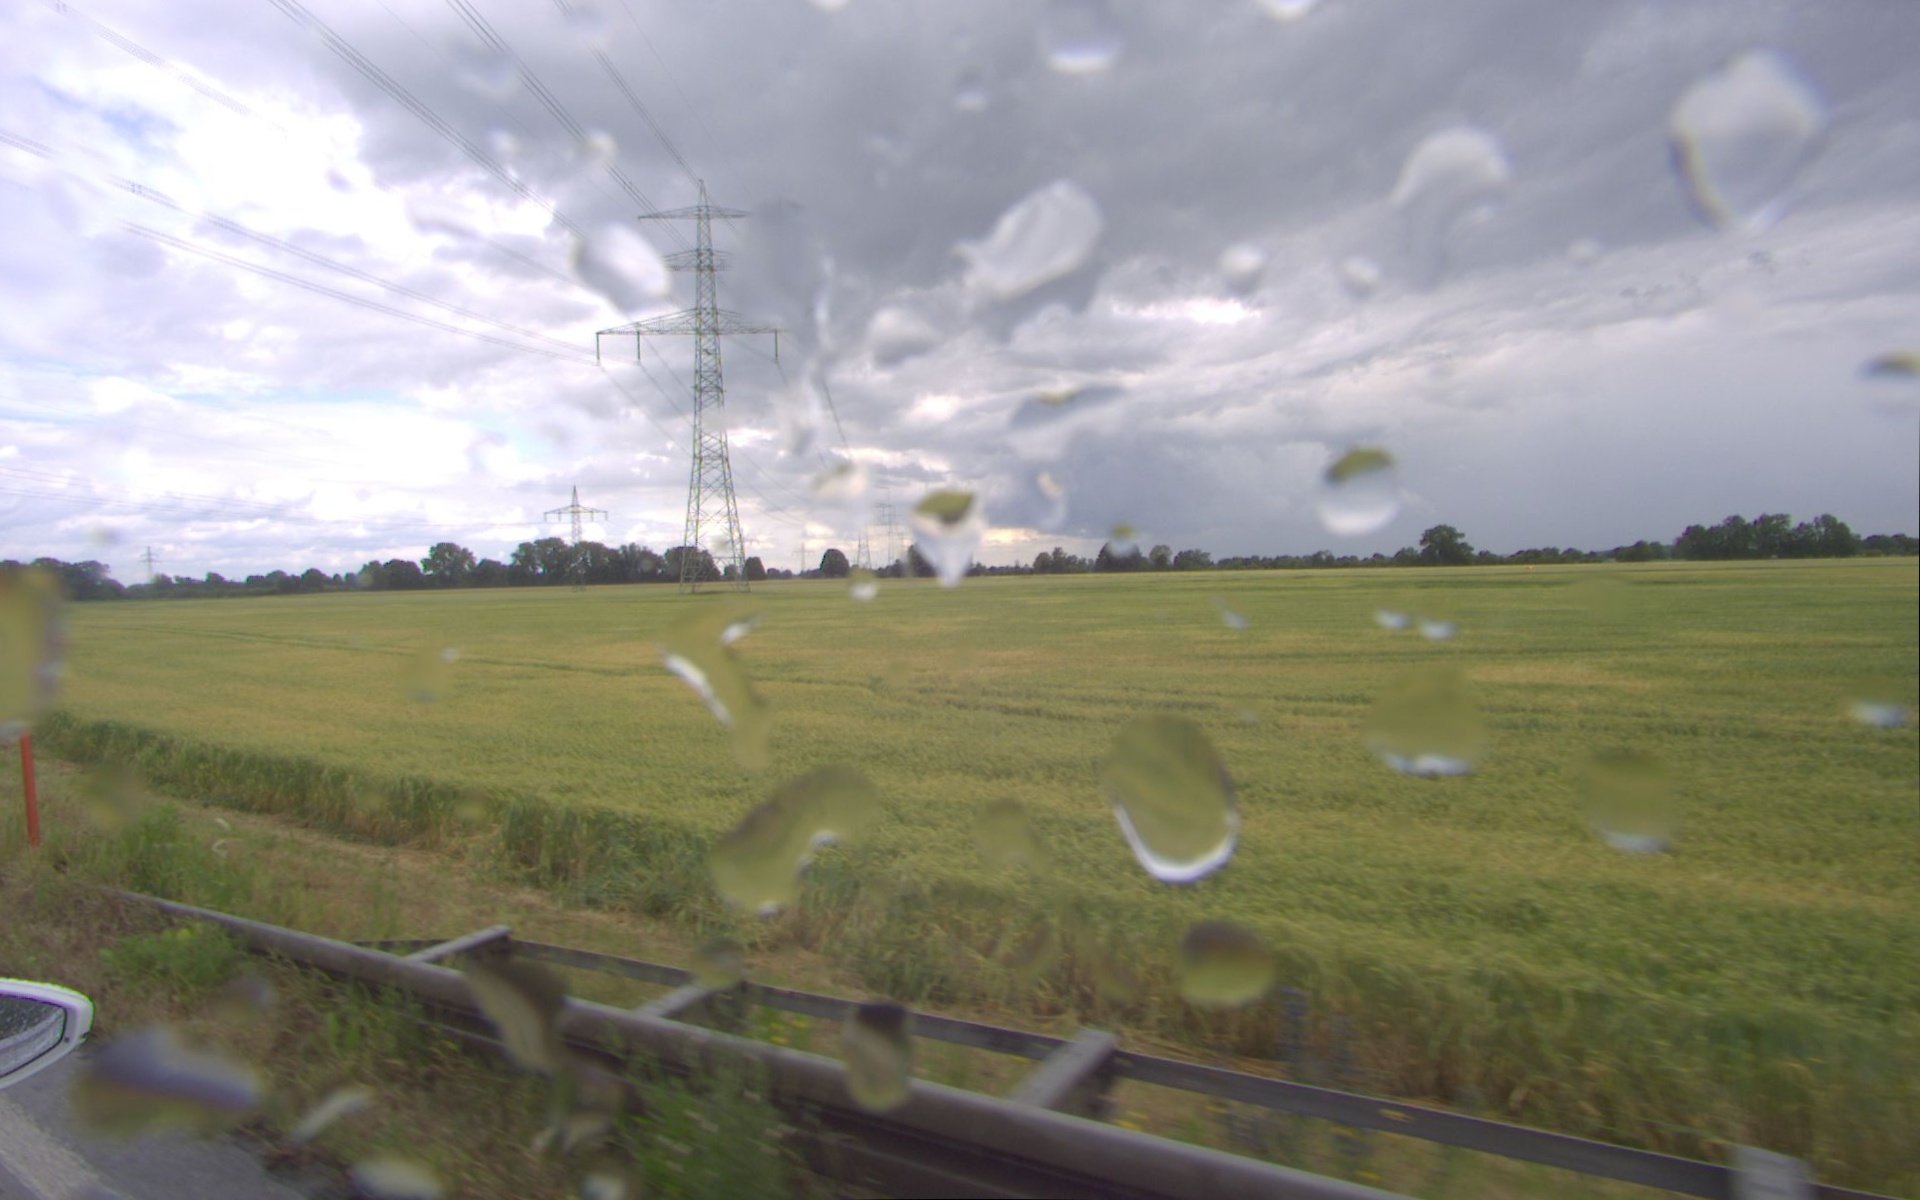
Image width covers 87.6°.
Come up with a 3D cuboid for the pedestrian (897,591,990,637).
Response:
[{"bbox_3d":[-0.778,0.702,47.272,3.938,2.039,1.993,-2,-2,28],"label":"pedestrian"}]
